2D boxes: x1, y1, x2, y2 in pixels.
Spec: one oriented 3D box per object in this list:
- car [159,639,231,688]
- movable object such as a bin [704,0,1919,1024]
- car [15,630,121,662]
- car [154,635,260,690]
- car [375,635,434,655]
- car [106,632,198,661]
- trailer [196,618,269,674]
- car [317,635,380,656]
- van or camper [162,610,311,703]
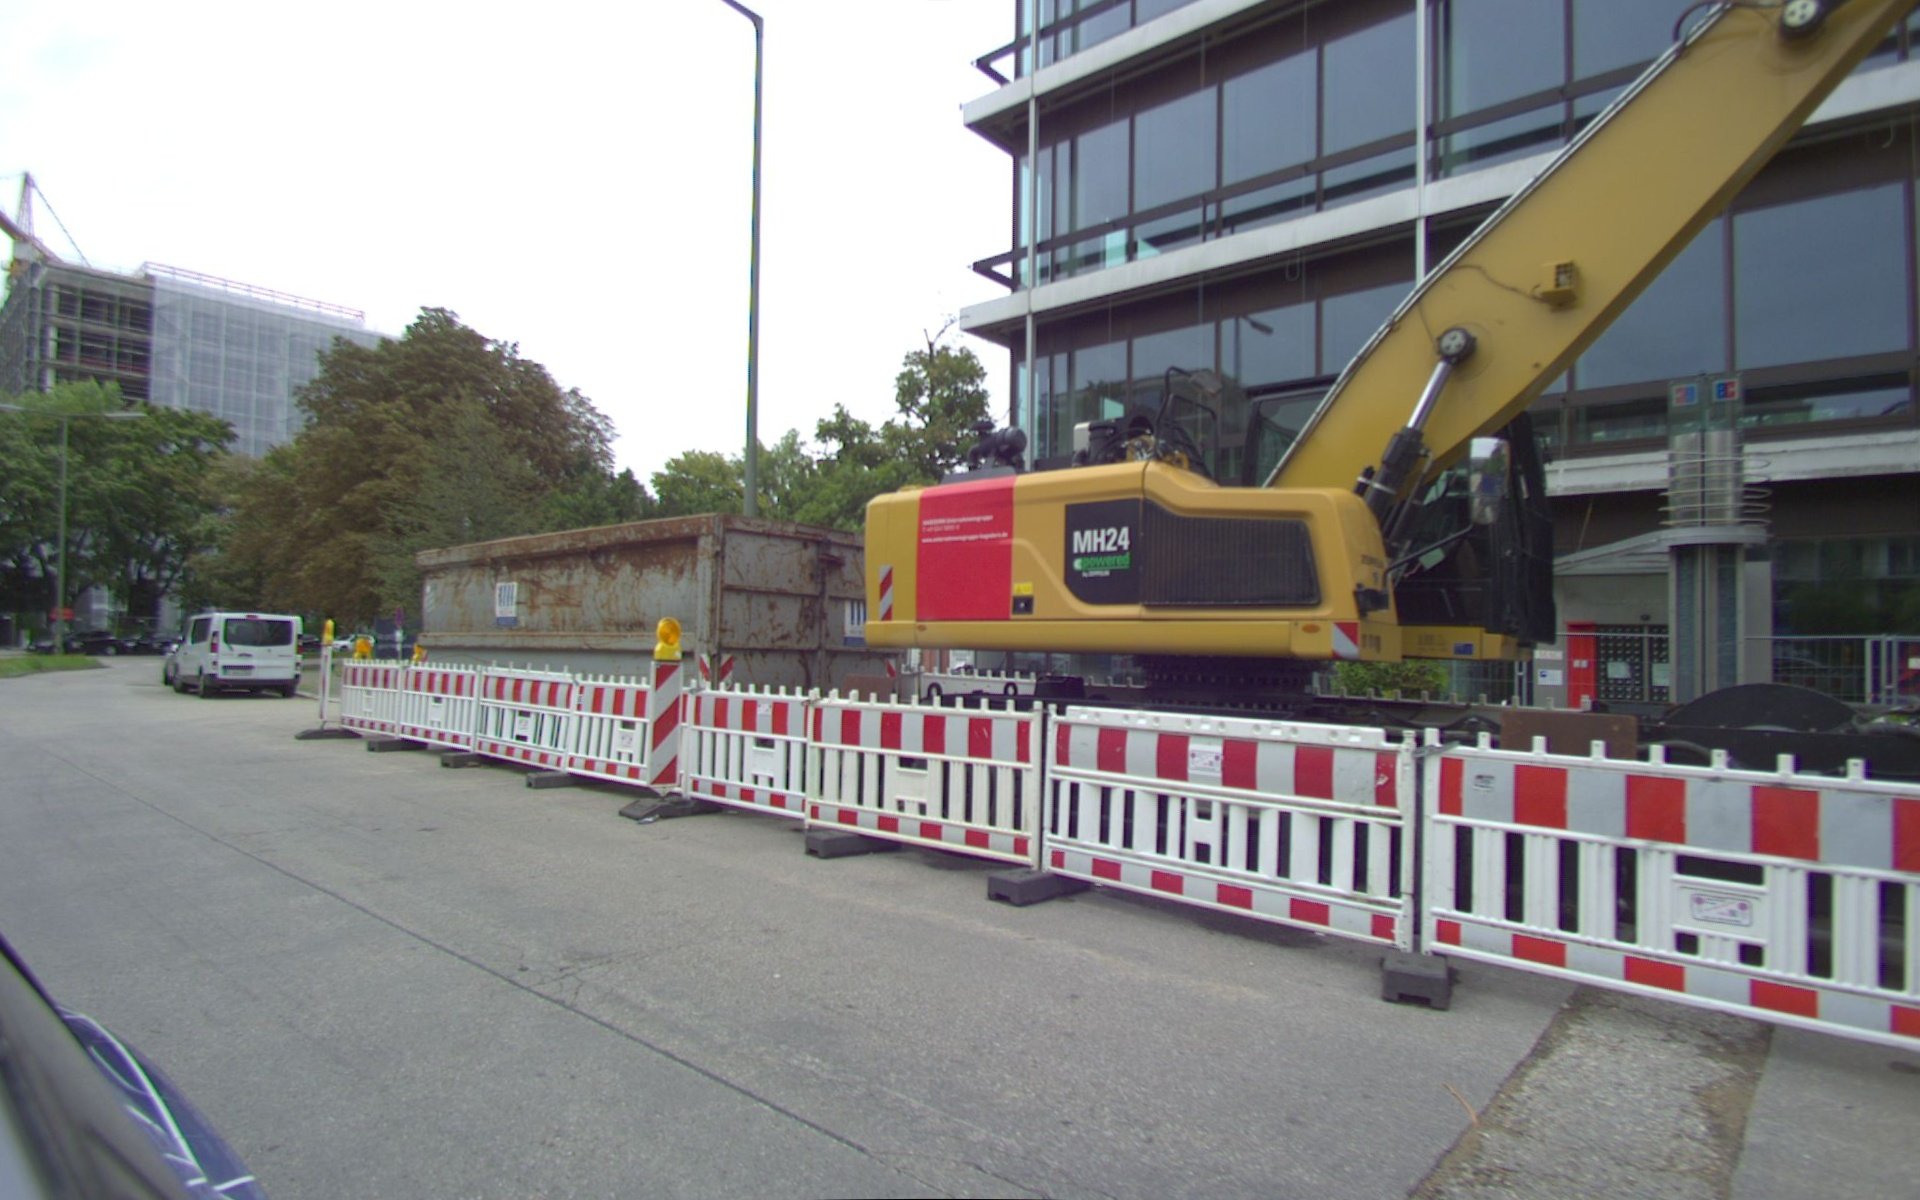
[{"bbox_3d":[-25.030,2.041,33.166,1.714,1.470,4.040,5,-5,-37],"label":"car"},{"bbox_3d":[3.181,-1.592,6.410,11.775,6.614,2.874,-1,-3,40],"label":"movable object such as a bin"},{"bbox_3d":[-47.871,2.483,54.393,1.775,1.584,3.863,1,-2,18],"label":"car"},{"bbox_3d":[-22.091,1.800,29.639,1.970,1.470,4.124,5,-5,-42],"label":"car"},{"bbox_3d":[-42.029,3.435,76.662,1.512,1.397,3.688,1,-2,25],"label":"car"},{"bbox_3d":[-46.839,2.690,58.770,1.772,1.584,3.870,2,-2,13],"label":"car"},{"bbox_3d":[-29.836,1.884,41.608,1.752,2.198,2.785,3,-3,-23],"label":"trailer"},{"bbox_3d":[-43.719,3.246,72.436,1.508,1.397,3.697,1,-2,18],"label":"car"},{"bbox_3d":[-18.048,1.386,25.123,5.588,2.050,1.967,-2,-5,44],"label":"van or camper"}]
